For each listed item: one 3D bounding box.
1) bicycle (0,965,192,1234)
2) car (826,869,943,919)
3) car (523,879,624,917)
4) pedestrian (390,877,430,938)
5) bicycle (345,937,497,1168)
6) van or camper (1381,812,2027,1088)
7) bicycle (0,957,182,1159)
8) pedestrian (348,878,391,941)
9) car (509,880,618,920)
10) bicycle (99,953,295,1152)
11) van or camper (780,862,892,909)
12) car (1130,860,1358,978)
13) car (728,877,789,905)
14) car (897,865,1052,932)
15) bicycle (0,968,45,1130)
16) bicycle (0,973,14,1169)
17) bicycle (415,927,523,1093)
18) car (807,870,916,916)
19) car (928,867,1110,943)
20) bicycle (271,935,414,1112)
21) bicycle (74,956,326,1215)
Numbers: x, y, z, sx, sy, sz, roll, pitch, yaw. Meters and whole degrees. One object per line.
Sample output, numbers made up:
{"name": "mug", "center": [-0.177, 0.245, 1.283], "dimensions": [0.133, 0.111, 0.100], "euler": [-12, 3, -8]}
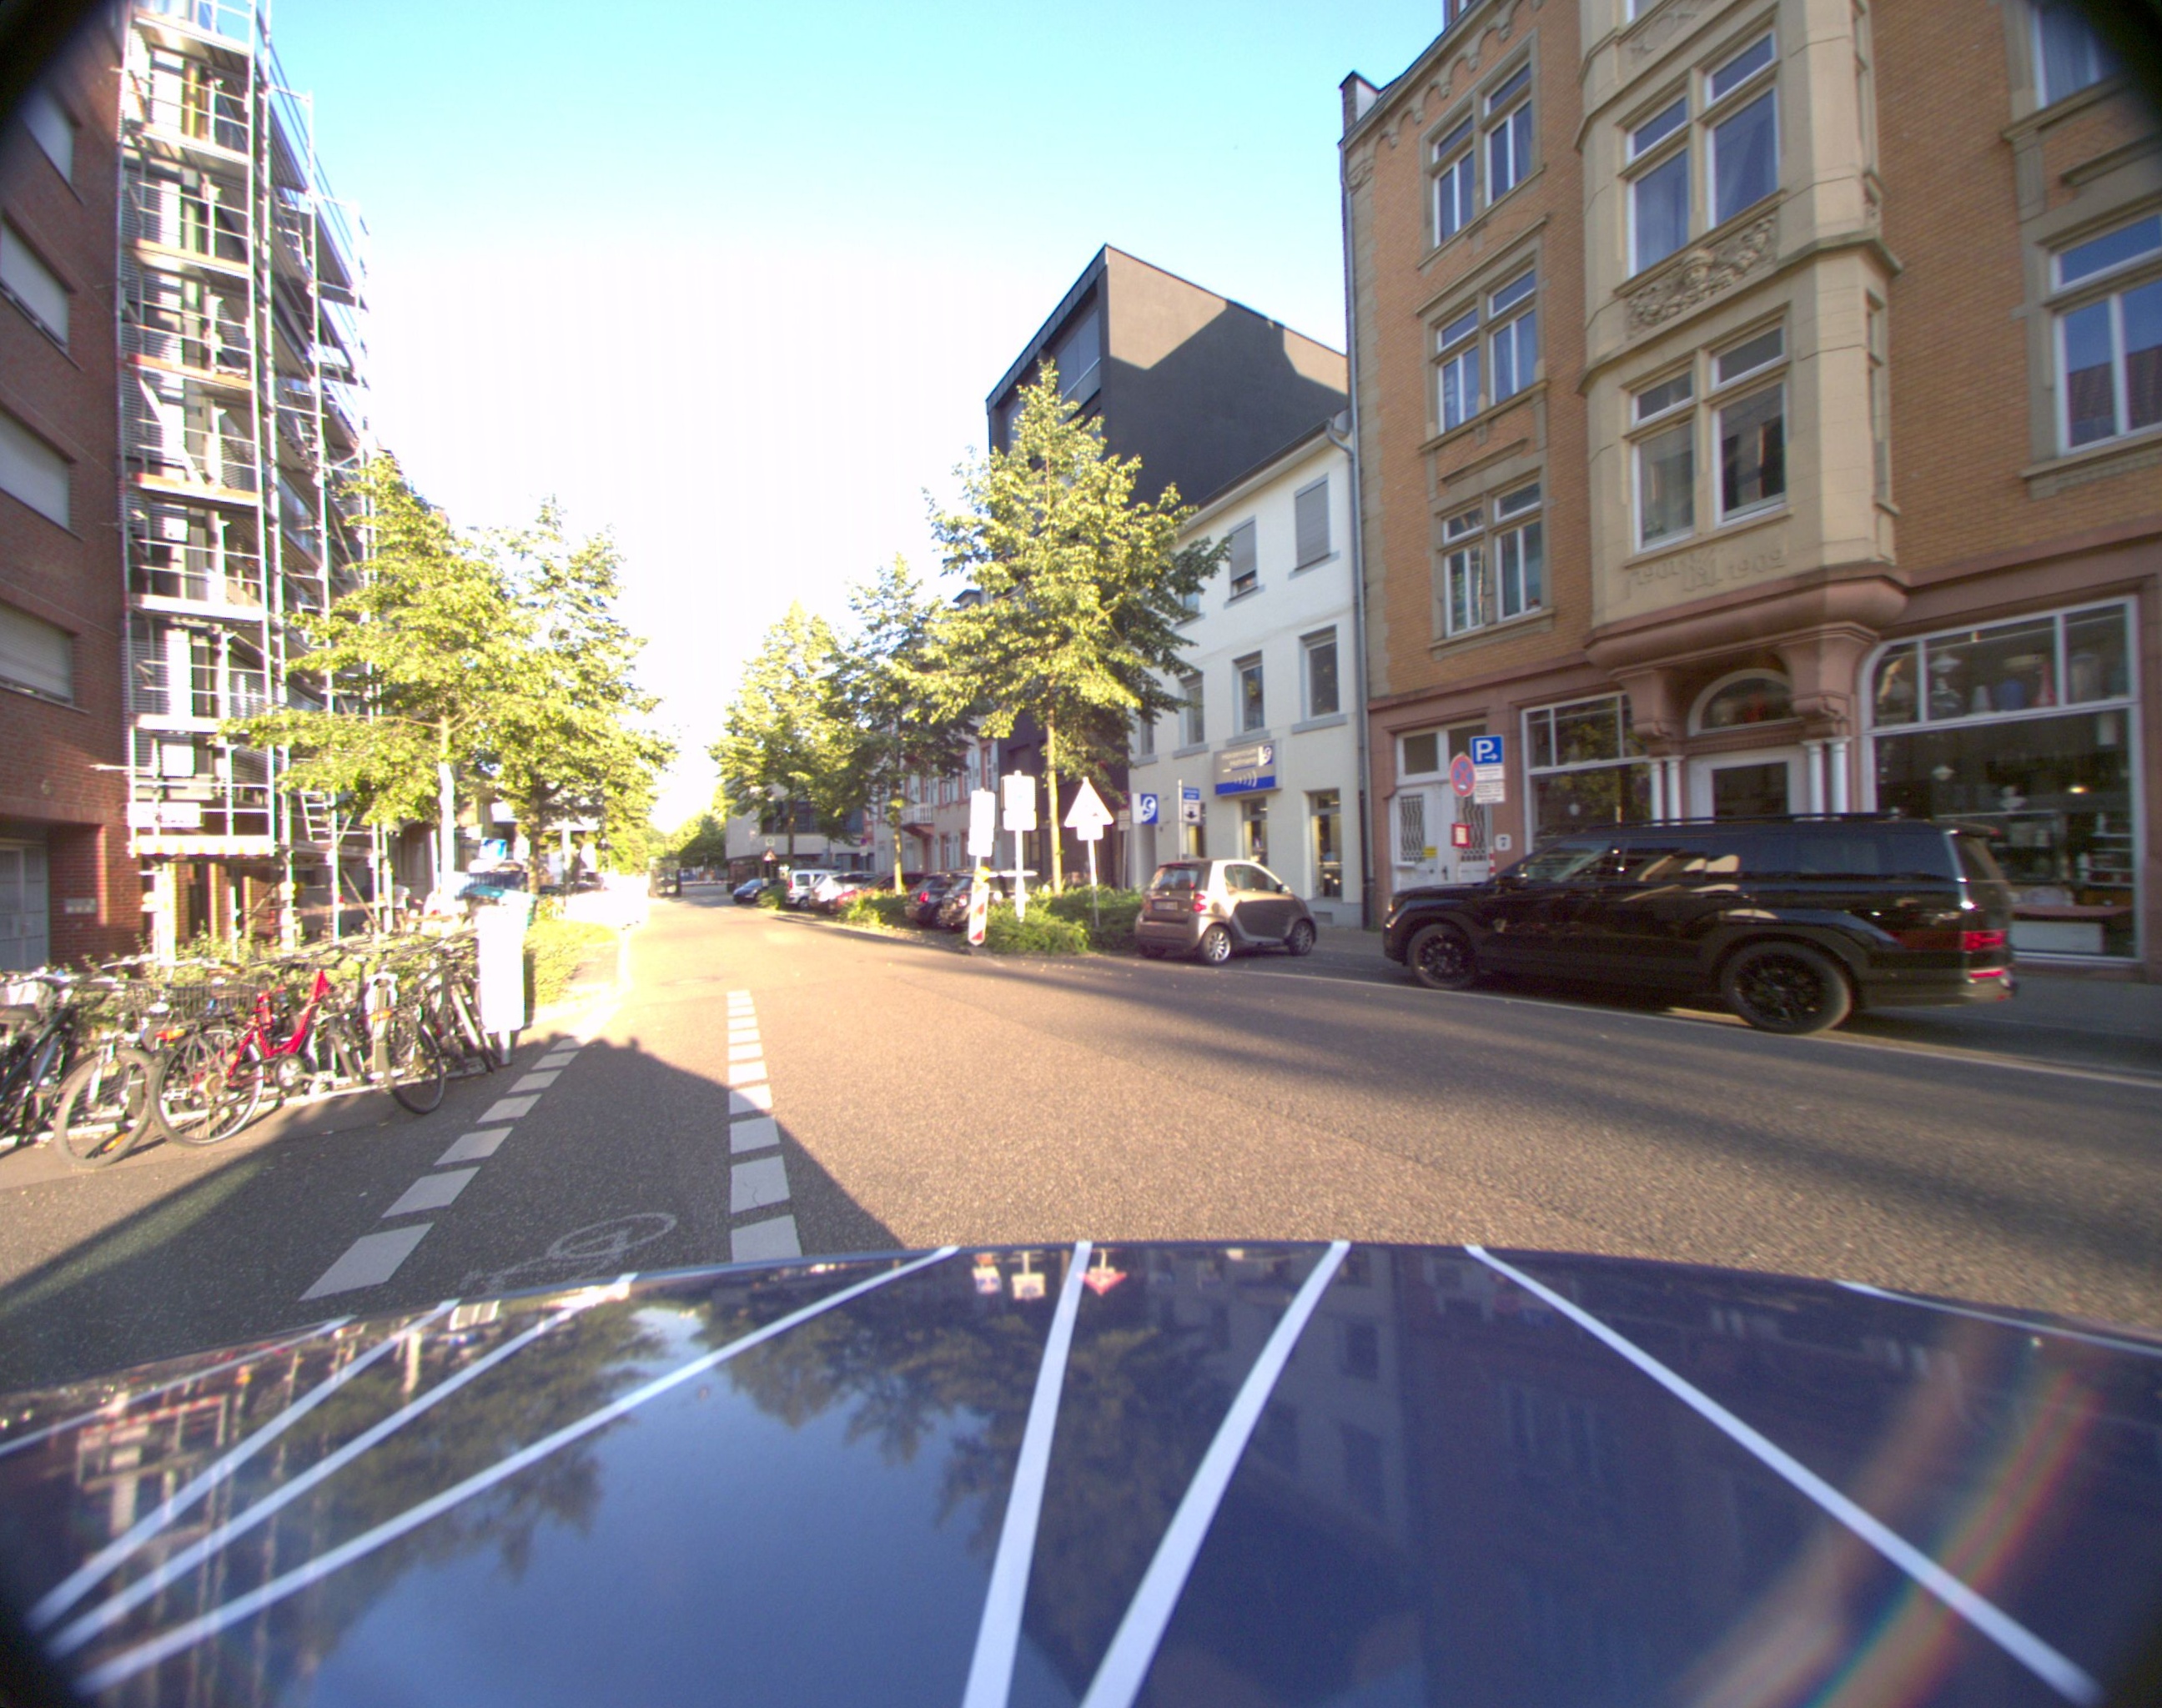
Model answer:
{"name": "bicycle", "center": [-5.799, 1.314, 4.373], "dimensions": [0.382, 1.153, 1.549], "euler": [-1, 0, -31]}
{"name": "car", "center": [-7.099, 1.394, 27.469], "dimensions": [3.704, 1.660, 1.854], "euler": [1, -1, -33]}
{"name": "car", "center": [-25.125, 2.164, 37.785], "dimensions": [4.006, 1.674, 1.887], "euler": [-1, -1, -29]}
{"name": "pedestrian", "center": [-20.031, 1.584, 22.702], "dimensions": [0.745, 1.773, 0.655], "euler": [-2, 0, -32]}
{"name": "bicycle", "center": [-4.486, 1.251, 5.253], "dimensions": [0.499, 1.213, 1.549], "euler": [-1, 0, -31]}
{"name": "van or camper", "center": [5.466, 0.672, 7.303], "dimensions": [1.899, 1.797, 4.449], "euler": [0, -1, -36]}
{"name": "bicycle", "center": [-7.338, 1.412, 5.565], "dimensions": [0.469, 1.137, 1.549], "euler": [-1, 0, -31]}
{"name": "pedestrian", "center": [-20.600, 1.587, 22.014], "dimensions": [0.745, 1.773, 0.655], "euler": [-2, 0, -31]}
{"name": "car", "center": [-23.963, 2.088, 35.355], "dimensions": [4.006, 1.674, 1.887], "euler": [-1, -1, -29]}
{"name": "bicycle", "center": [-6.678, 1.420, 5.829], "dimensions": [0.489, 1.143, 1.549], "euler": [-1, 0, -31]}
{"name": "van or camper", "center": [-10.958, 1.385, 34.092], "dimensions": [4.463, 1.993, 1.854], "euler": [1, -1, -33]}
{"name": "car", "center": [2.635, 0.920, 12.050], "dimensions": [3.487, 1.566, 1.504], "euler": [-1, 0, -33]}
{"name": "car", "center": [-18.626, 2.121, 44.050], "dimensions": [1.856, 1.558, 3.699], "euler": [0, -1, 2]}
{"name": "car", "center": [-2.840, 1.129, 20.473], "dimensions": [3.704, 1.660, 1.854], "euler": [1, -1, -33]}
{"name": "bicycle", "center": [-7.916, 1.440, 5.158], "dimensions": [0.459, 1.125, 1.549], "euler": [-1, 0, -31]}
{"name": "bicycle", "center": [-6.464, 1.322, 3.990], "dimensions": [0.388, 1.182, 1.549], "euler": [-1, 0, -31]}
{"name": "bicycle", "center": [-5.395, 1.304, 6.771], "dimensions": [0.510, 1.171, 1.549], "euler": [-1, 0, -31]}
{"name": "car", "center": [-8.525, 1.460, 29.576], "dimensions": [3.704, 1.660, 1.854], "euler": [1, -1, -33]}
{"name": "car", "center": [-1.469, 1.149, 18.512], "dimensions": [4.016, 1.660, 1.854], "euler": [1, -1, -33]}
{"name": "bicycle", "center": [-6.089, 1.324, 6.342], "dimensions": [0.489, 1.156, 1.549], "euler": [-1, 0, -31]}
{"name": "bicycle", "center": [-5.344, 1.304, 4.721], "dimensions": [0.419, 1.150, 1.549], "euler": [-1, 0, -26]}
